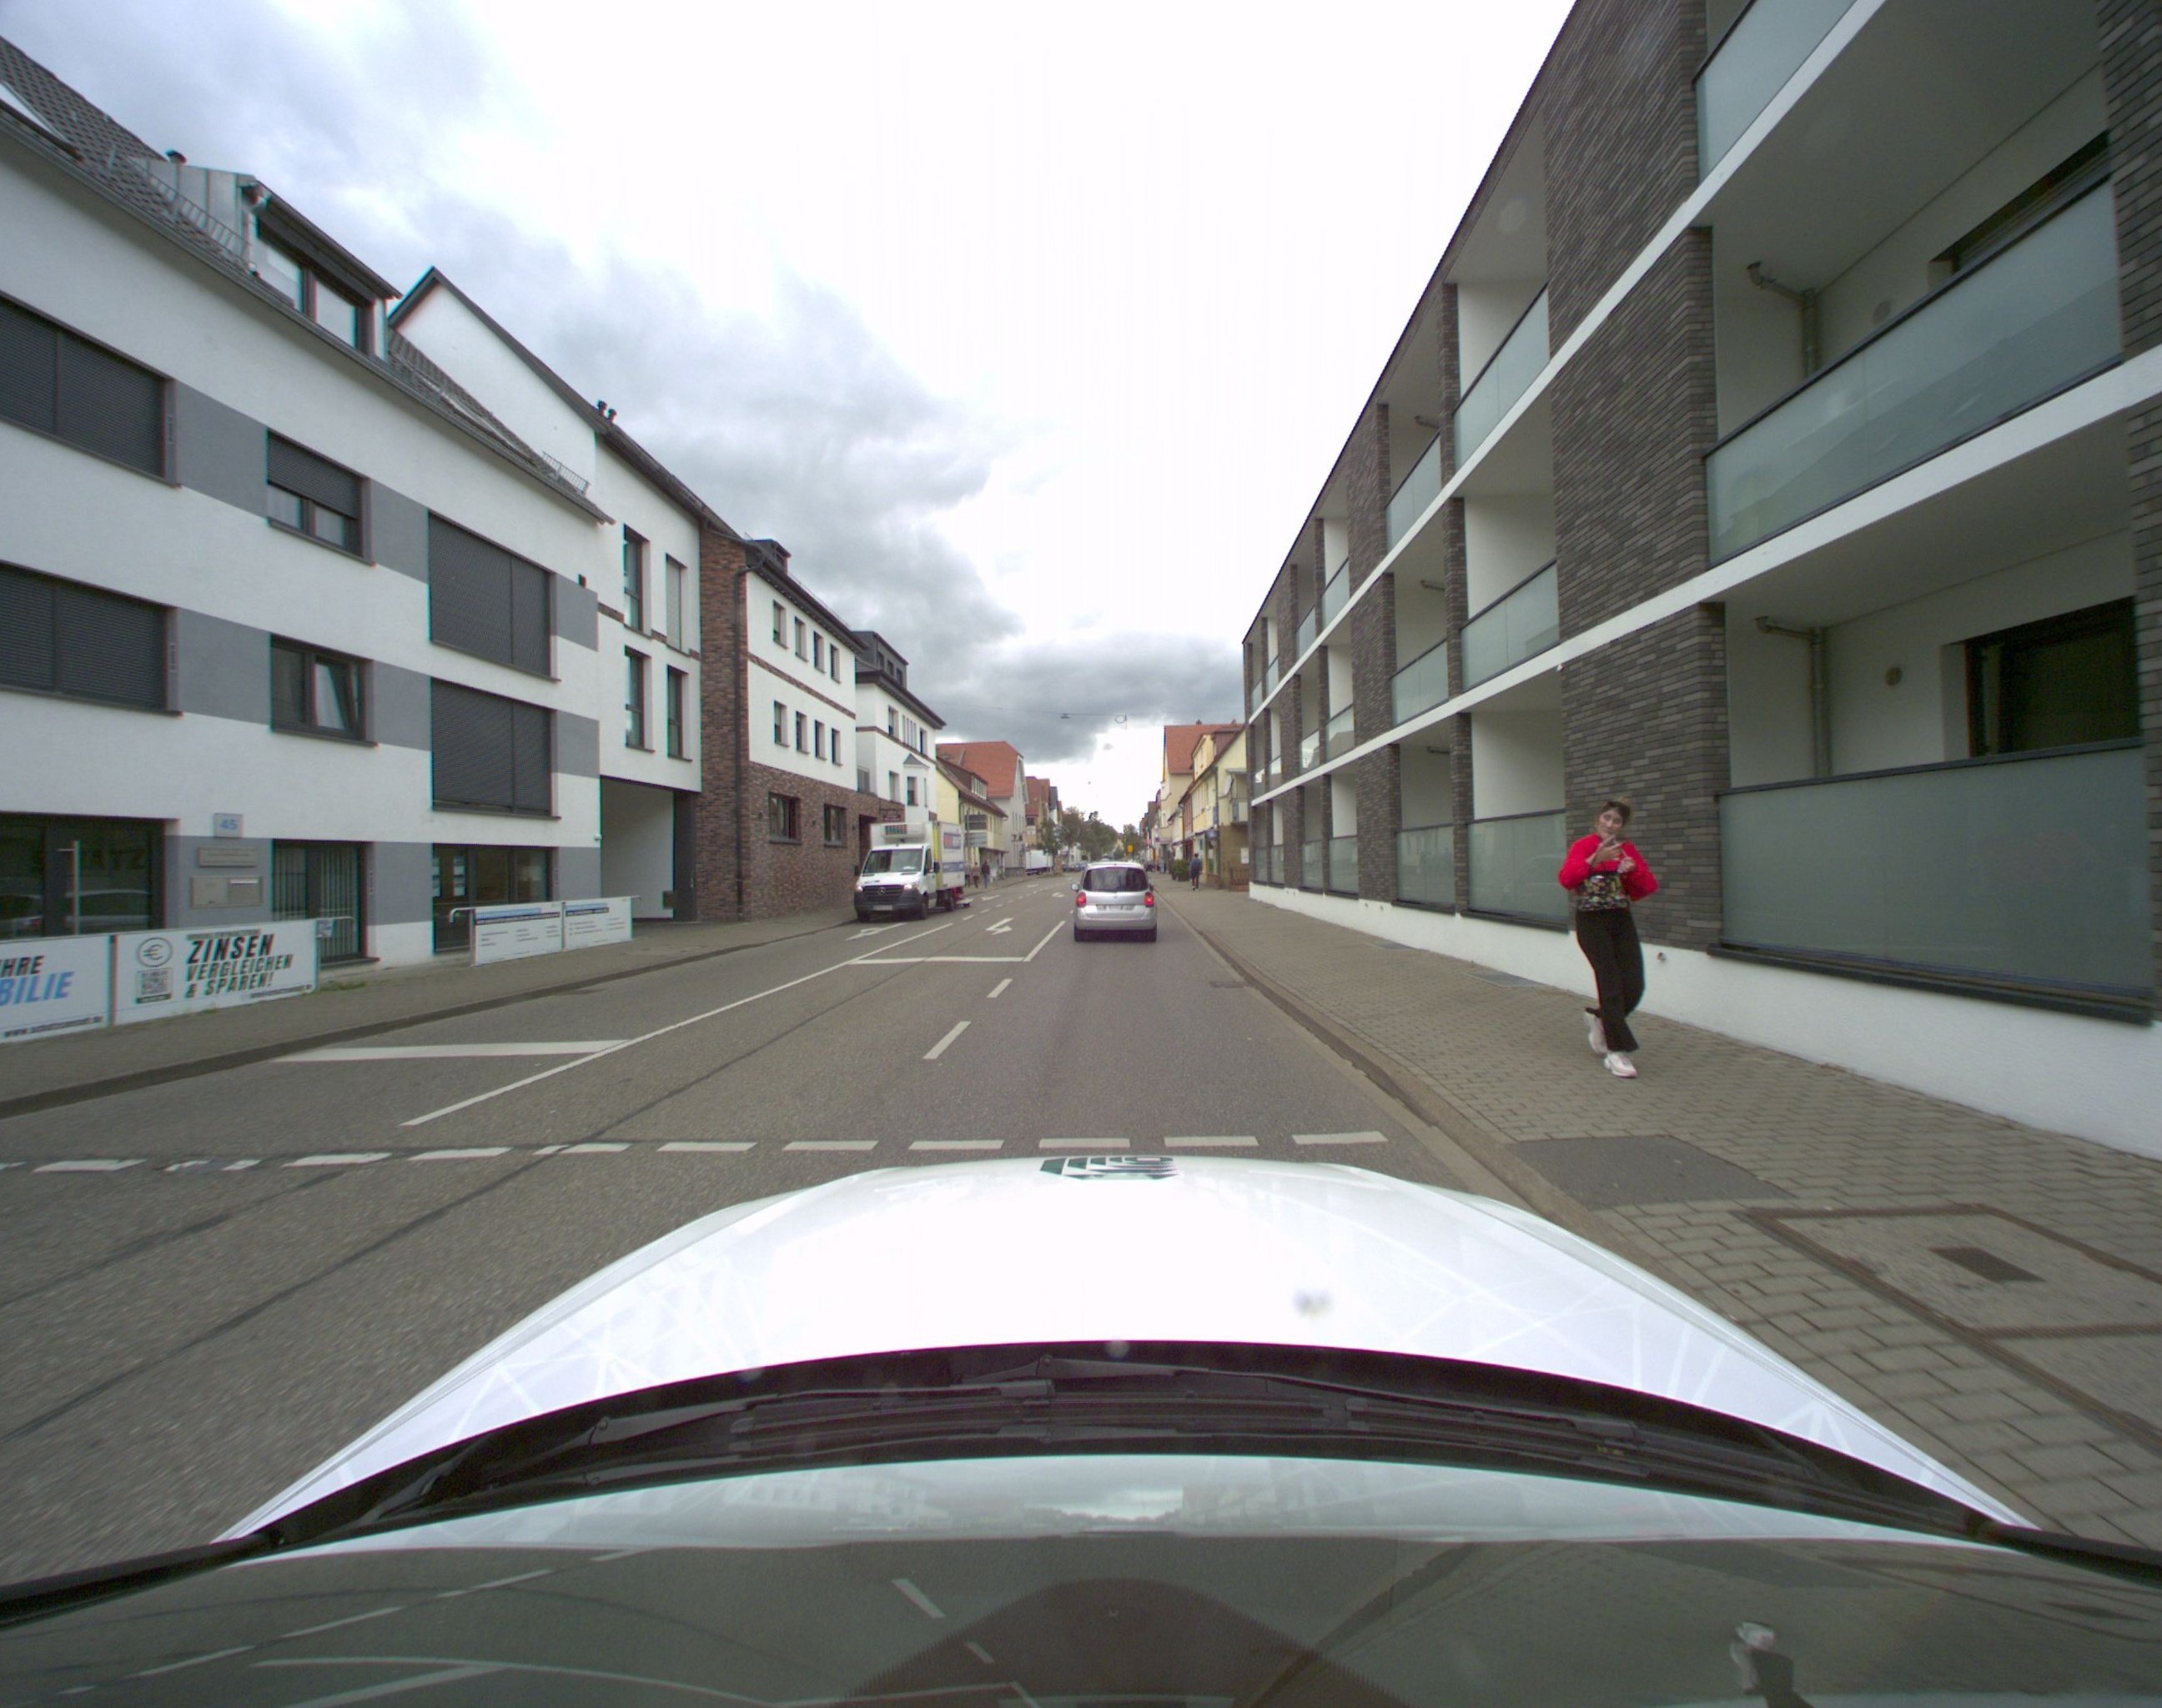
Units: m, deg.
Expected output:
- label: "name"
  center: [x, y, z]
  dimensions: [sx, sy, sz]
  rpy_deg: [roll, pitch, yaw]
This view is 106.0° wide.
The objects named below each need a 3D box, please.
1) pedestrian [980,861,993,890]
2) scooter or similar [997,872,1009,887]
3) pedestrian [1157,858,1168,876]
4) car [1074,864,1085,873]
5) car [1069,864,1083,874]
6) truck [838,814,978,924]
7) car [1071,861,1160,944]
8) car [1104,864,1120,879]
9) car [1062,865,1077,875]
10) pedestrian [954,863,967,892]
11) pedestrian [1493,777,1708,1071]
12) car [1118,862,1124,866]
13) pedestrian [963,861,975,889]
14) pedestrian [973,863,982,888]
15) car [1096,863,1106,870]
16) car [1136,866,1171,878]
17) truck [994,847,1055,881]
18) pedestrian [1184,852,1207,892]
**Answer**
- label: "pedestrian"
  center: [-5.751, 1.317, 49.824]
  dimensions: [0.659, 1.757, 0.688]
  rpy_deg: [0, -1, 3]
- label: "scooter or similar"
  center: [-6.778, 2.190, 70.950]
  dimensions: [0.573, 1.269, 2.550]
  rpy_deg: [-2, -1, 3]
- label: "pedestrian"
  center: [8.107, 1.308, 81.219]
  dimensions: [0.886, 1.787, 0.785]
  rpy_deg: [-4, -1, 2]
- label: "car"
  center: [-0.243, 2.519, 140.405]
  dimensions: [1.805, 1.354, 4.003]
  rpy_deg: [-2, -1, 3]
- label: "car"
  center: [-0.714, 2.171, 118.853]
  dimensions: [1.805, 1.354, 4.003]
  rpy_deg: [-2, -1, 3]
- label: "truck"
  center: [-5.344, 0.462, 26.887]
  dimensions: [2.426, 2.954, 8.368]
  rpy_deg: [-3, -1, 2]
- label: "car"
  center: [0.735, 0.953, 17.625]
  dimensions: [1.700, 1.579, 4.002]
  rpy_deg: [1, -1, 2]
- label: "car"
  center: [3.296, 1.839, 87.208]
  dimensions: [1.700, 1.579, 4.002]
  rpy_deg: [1, -1, 2]
- label: "car"
  center: [-1.556, 2.198, 113.551]
  dimensions: [1.805, 1.354, 4.003]
  rpy_deg: [-2, -1, 3]
- label: "pedestrian"
  center: [-7.268, 1.401, 49.149]
  dimensions: [0.645, 1.757, 0.688]
  rpy_deg: [0, -1, 3]
- label: "pedestrian"
  center: [3.462, 0.441, 5.521]
  dimensions: [0.804, 1.787, 0.861]
  rpy_deg: [-4, -1, 3]
- label: "car"
  center: [12.127, 3.076, 247.441]
  dimensions: [1.805, 1.354, 4.003]
  rpy_deg: [-2, -1, 3]
- label: "pedestrian"
  center: [-6.932, 1.285, 50.346]
  dimensions: [0.577, 1.757, 0.688]
  rpy_deg: [0, -1, 3]
- label: "pedestrian"
  center: [-6.362, 1.343, 50.167]
  dimensions: [0.424, 1.525, 0.554]
  rpy_deg: [0, -1, 3]
- label: "car"
  center: [4.060, 2.505, 161.281]
  dimensions: [1.805, 1.354, 3.860]
  rpy_deg: [-2, -1, 3]
- label: "car"
  center: [8.367, 2.089, 94.063]
  dimensions: [3.740, 1.314, 1.510]
  rpy_deg: [1, -1, -19]
- label: "truck"
  center: [-6.638, 1.136, 96.527]
  dimensions: [6.883, 3.858, 2.573]
  rpy_deg: [-1, -1, -40]
- label: "pedestrian"
  center: [5.391, 0.853, 38.255]
  dimensions: [0.886, 1.787, 0.785]
  rpy_deg: [-4, -1, 2]
